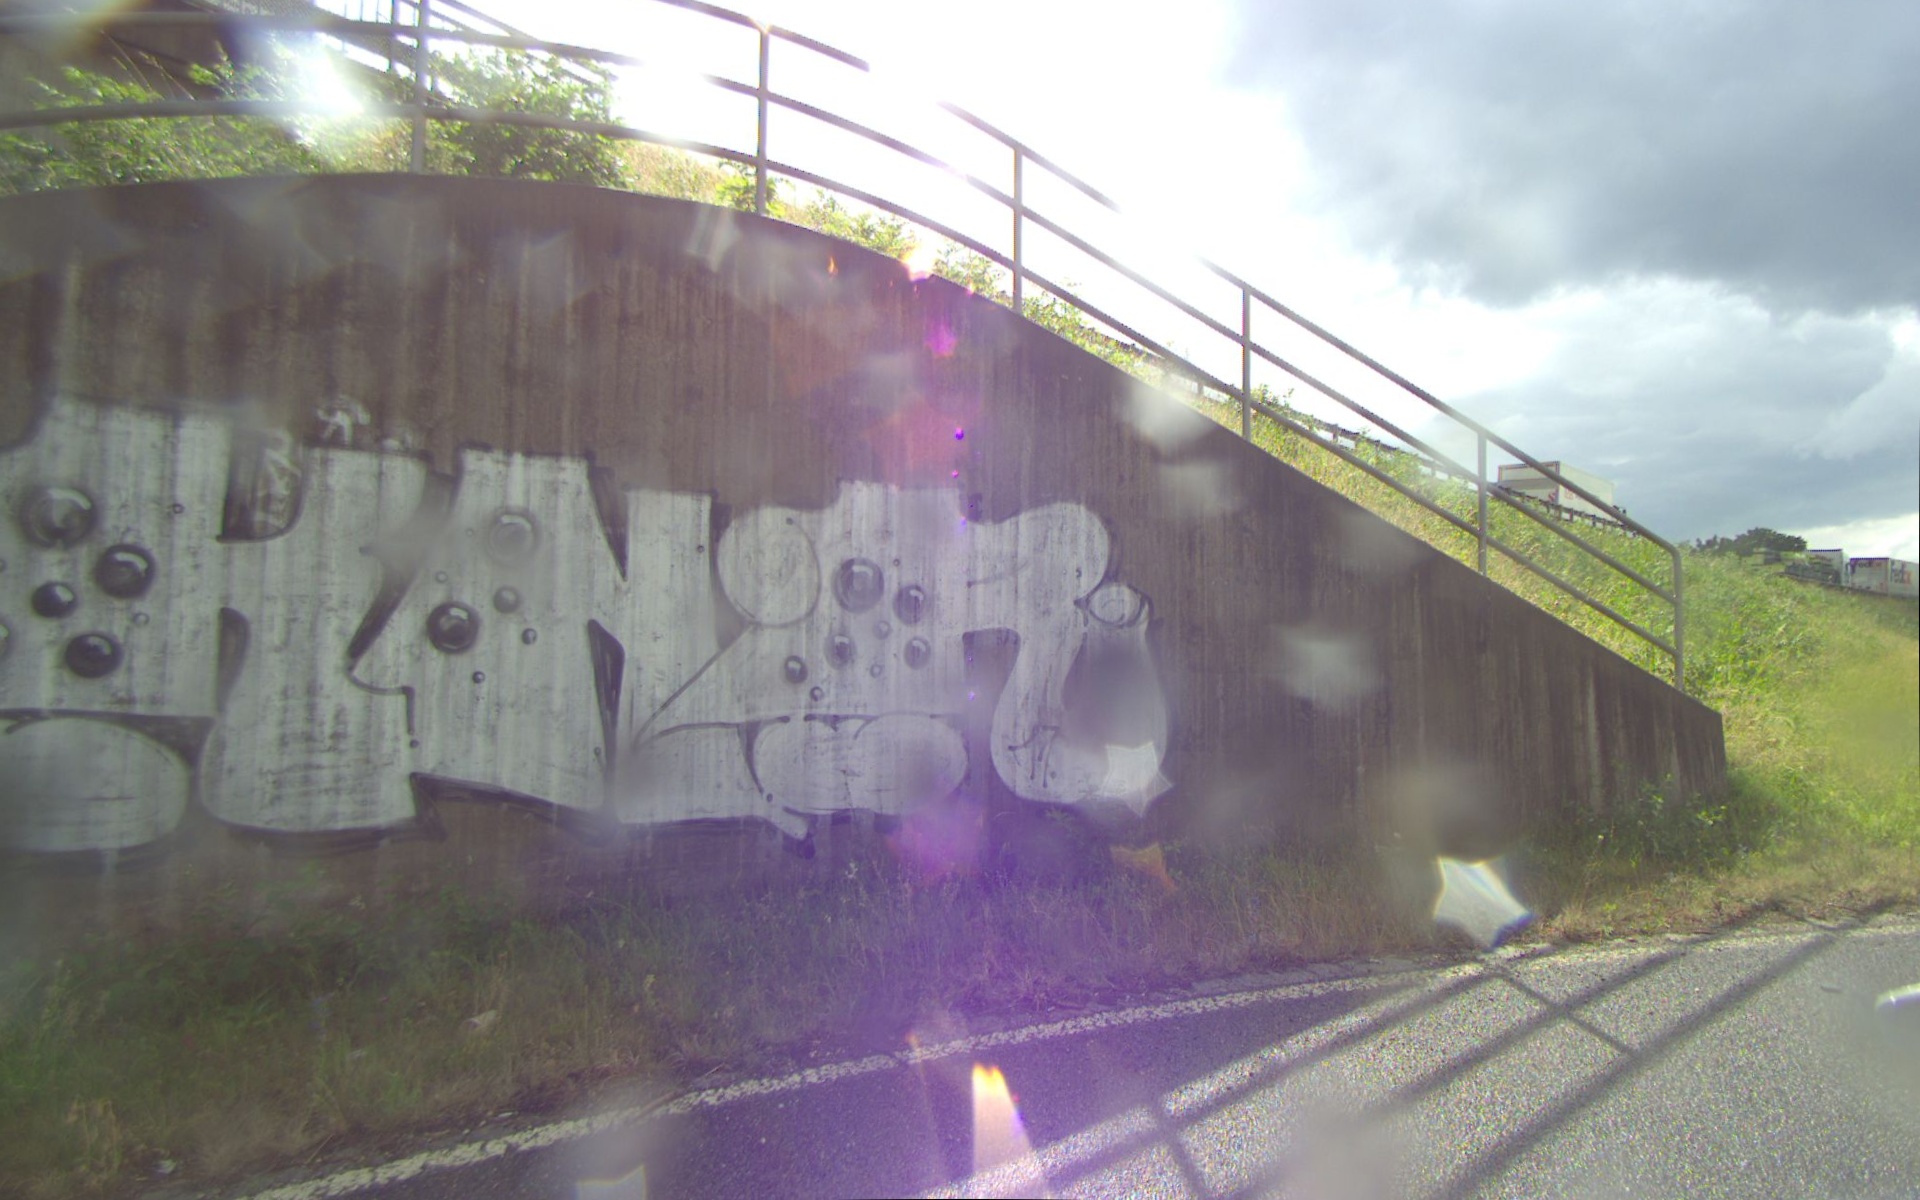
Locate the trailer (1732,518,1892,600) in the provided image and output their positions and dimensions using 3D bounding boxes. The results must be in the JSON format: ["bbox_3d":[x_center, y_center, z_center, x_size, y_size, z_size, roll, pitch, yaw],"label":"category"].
[{"bbox_3d":[62.128,-2.640,72.816,20.031,4.007,4.382,5,-3,-36],"label":"trailer"}]

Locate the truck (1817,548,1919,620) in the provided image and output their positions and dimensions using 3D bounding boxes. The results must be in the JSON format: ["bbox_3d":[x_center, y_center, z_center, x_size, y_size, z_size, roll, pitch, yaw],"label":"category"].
[{"bbox_3d":[77.591,-1.103,84.277,19.198,4.561,4.429,5,-3,-36],"label":"truck"}]

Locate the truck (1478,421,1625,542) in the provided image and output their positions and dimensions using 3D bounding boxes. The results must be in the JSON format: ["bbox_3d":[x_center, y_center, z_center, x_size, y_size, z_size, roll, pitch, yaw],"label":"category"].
[{"bbox_3d":[27.503,-5.247,46.449,9.168,4.017,3.152,5,-3,-41],"label":"truck"}]
